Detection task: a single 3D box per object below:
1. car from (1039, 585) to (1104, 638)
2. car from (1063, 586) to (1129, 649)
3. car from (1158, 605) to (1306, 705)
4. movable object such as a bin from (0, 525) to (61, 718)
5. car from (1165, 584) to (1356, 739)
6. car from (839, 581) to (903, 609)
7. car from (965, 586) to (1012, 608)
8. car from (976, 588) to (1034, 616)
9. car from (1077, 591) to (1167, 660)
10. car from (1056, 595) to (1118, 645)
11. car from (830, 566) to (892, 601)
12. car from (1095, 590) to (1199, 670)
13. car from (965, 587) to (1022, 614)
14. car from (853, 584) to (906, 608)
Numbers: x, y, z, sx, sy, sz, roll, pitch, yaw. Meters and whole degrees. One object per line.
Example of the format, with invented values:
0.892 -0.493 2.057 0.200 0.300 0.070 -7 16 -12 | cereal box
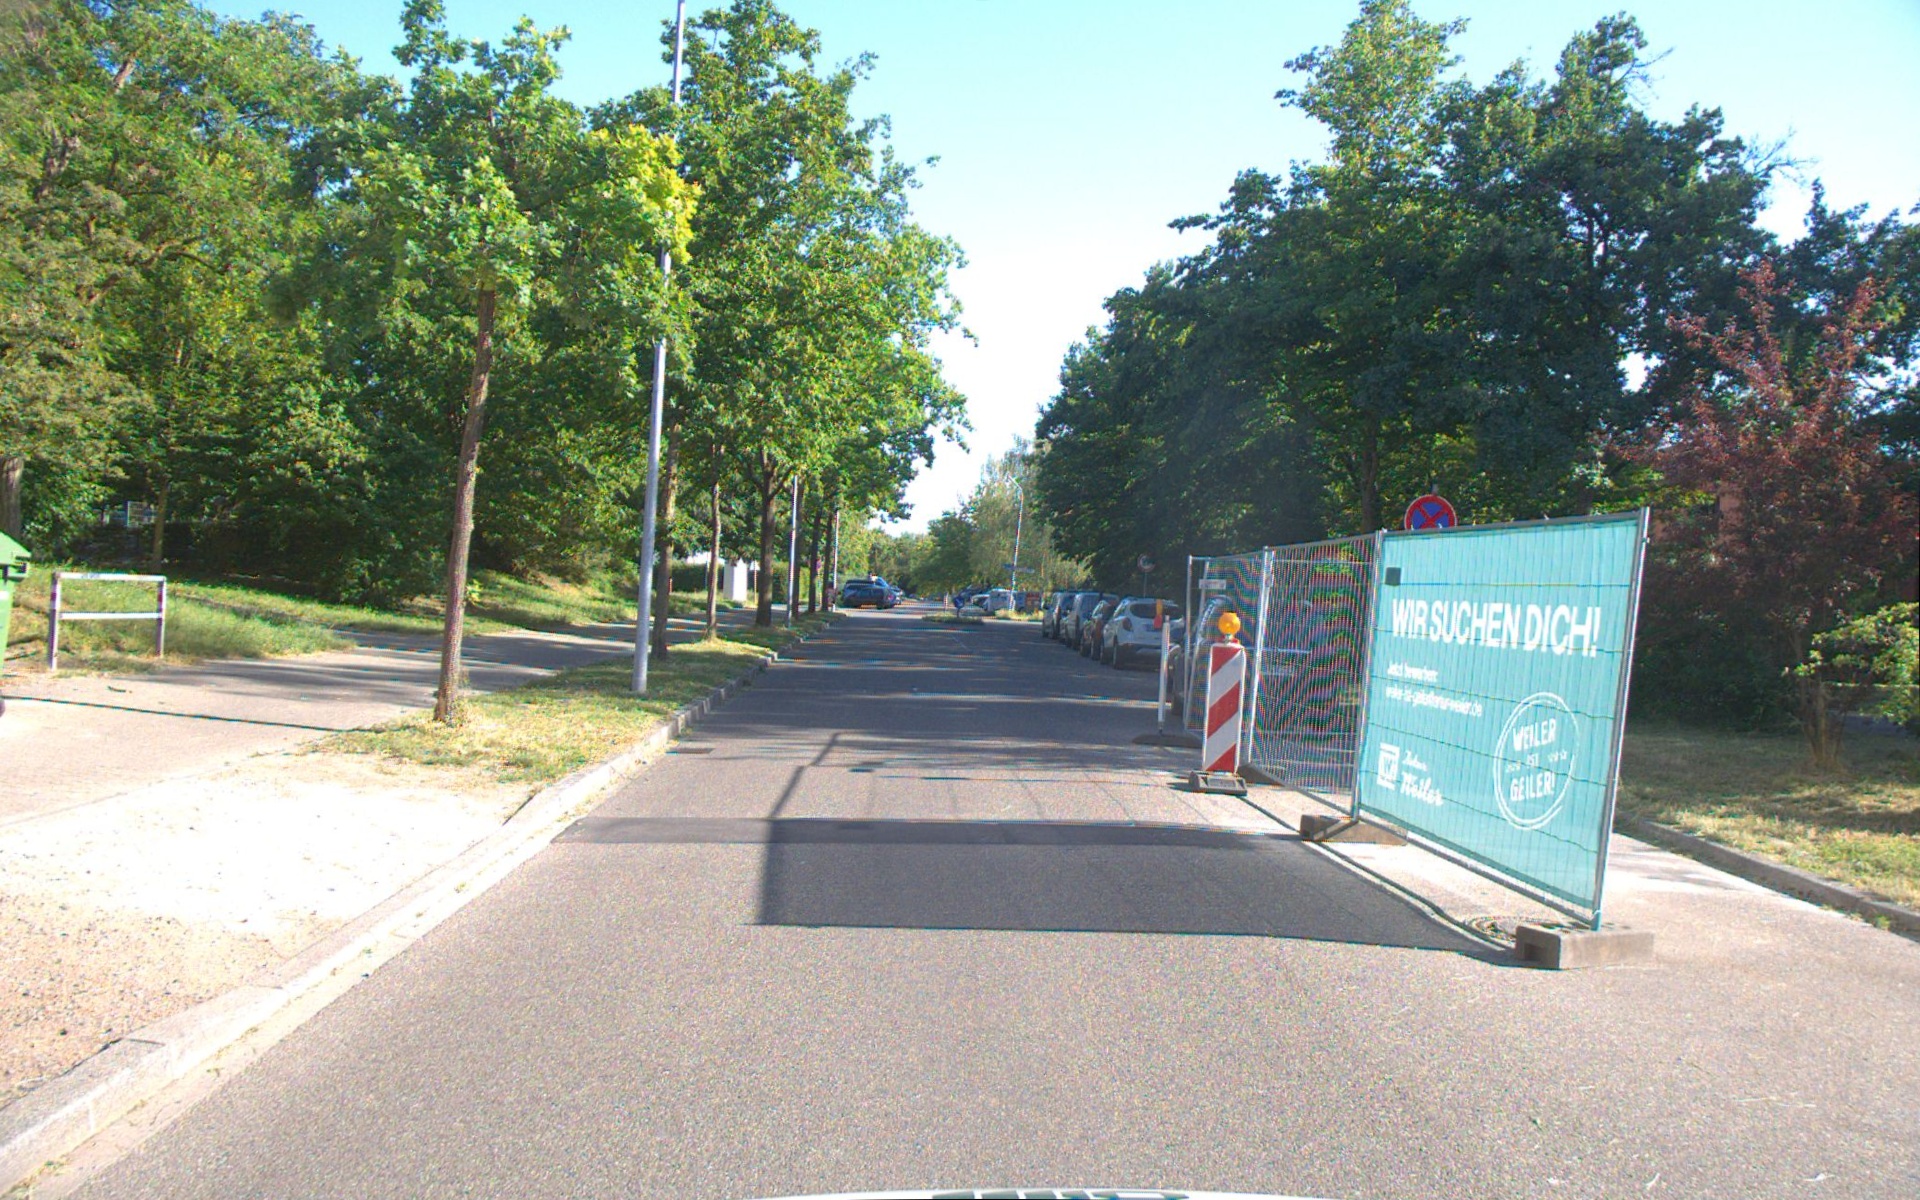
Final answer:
4.251 0.396 63.735 1.756 1.816 4.553 4 0 -5 | car
4.282 0.535 52.474 1.590 1.803 3.668 4 0 -1 | car
4.516 0.874 27.993 1.628 1.399 4.154 4 0 -2 | car
-7.849 0.136 12.592 1.242 1.460 1.182 2 0 15 | movable object such as a bin
3.787 0.716 21.575 1.773 1.679 4.422 4 0 3 | car
-6.304 -0.338 117.393 4.228 1.603 2.047 5 0 5 | car
2.400 -0.253 138.530 3.758 1.603 1.689 5 0 5 | car
3.062 0.158 113.110 3.758 1.603 1.689 5 0 5 | car
4.305 0.642 44.501 1.740 1.649 4.062 4 0 -3 | car
4.397 0.668 57.592 1.657 1.538 4.205 4 0 -1 | car
-8.543 -1.419 142.588 5.101 2.666 2.291 5 0 -6 | car
4.379 0.666 39.262 1.740 1.649 4.062 4 0 -3 | car
2.360 0.042 115.917 3.758 1.603 1.689 5 0 5 | car
-6.489 -0.312 133.695 4.023 1.603 1.958 5 0 0 | car
